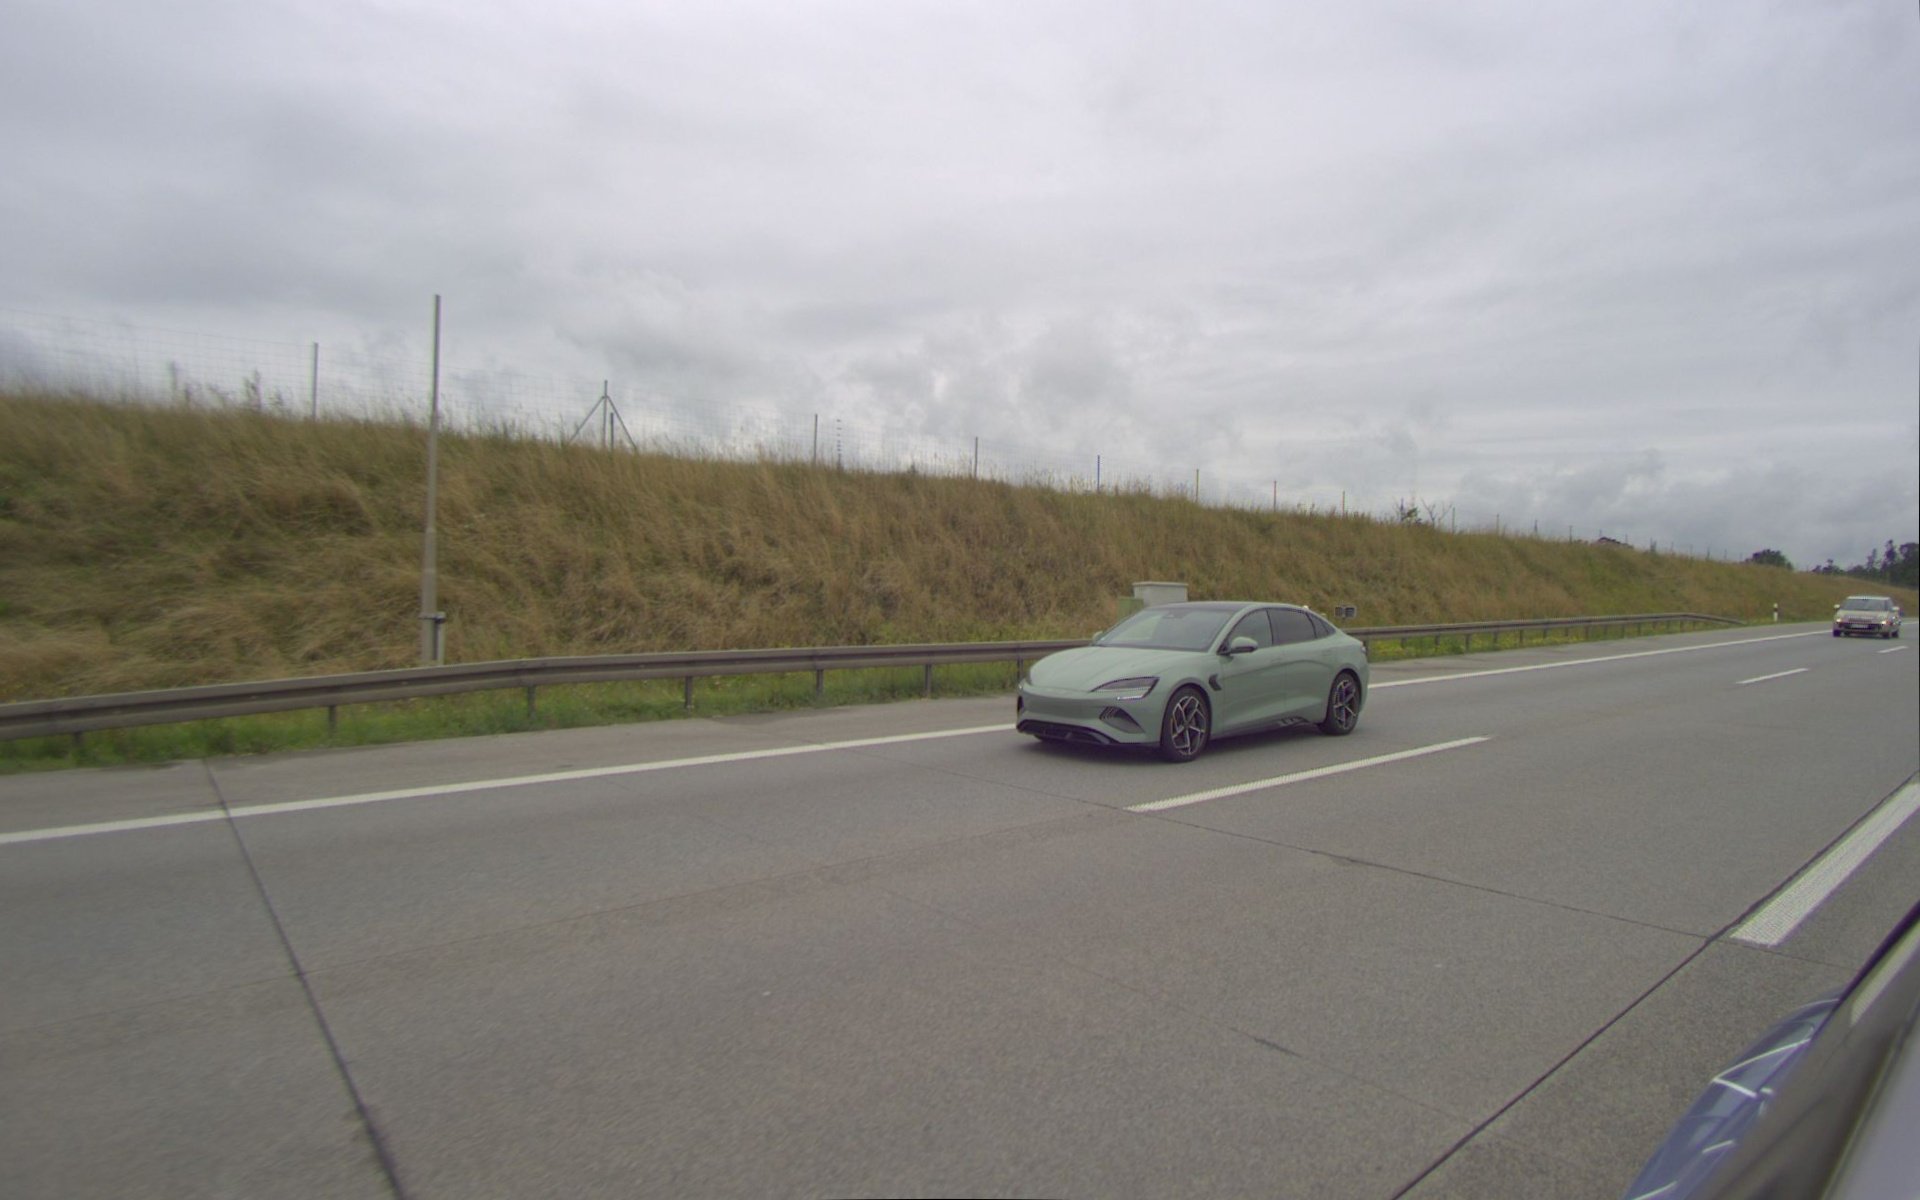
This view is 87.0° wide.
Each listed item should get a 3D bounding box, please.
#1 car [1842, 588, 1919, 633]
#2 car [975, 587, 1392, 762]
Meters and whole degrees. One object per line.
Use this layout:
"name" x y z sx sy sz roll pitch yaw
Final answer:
"car" 37.005 0.431 40.635 4.491 1.624 1.789 1 2 -41
"car" 2.546 0.675 10.797 4.662 1.464 2.017 1 -2 -42
